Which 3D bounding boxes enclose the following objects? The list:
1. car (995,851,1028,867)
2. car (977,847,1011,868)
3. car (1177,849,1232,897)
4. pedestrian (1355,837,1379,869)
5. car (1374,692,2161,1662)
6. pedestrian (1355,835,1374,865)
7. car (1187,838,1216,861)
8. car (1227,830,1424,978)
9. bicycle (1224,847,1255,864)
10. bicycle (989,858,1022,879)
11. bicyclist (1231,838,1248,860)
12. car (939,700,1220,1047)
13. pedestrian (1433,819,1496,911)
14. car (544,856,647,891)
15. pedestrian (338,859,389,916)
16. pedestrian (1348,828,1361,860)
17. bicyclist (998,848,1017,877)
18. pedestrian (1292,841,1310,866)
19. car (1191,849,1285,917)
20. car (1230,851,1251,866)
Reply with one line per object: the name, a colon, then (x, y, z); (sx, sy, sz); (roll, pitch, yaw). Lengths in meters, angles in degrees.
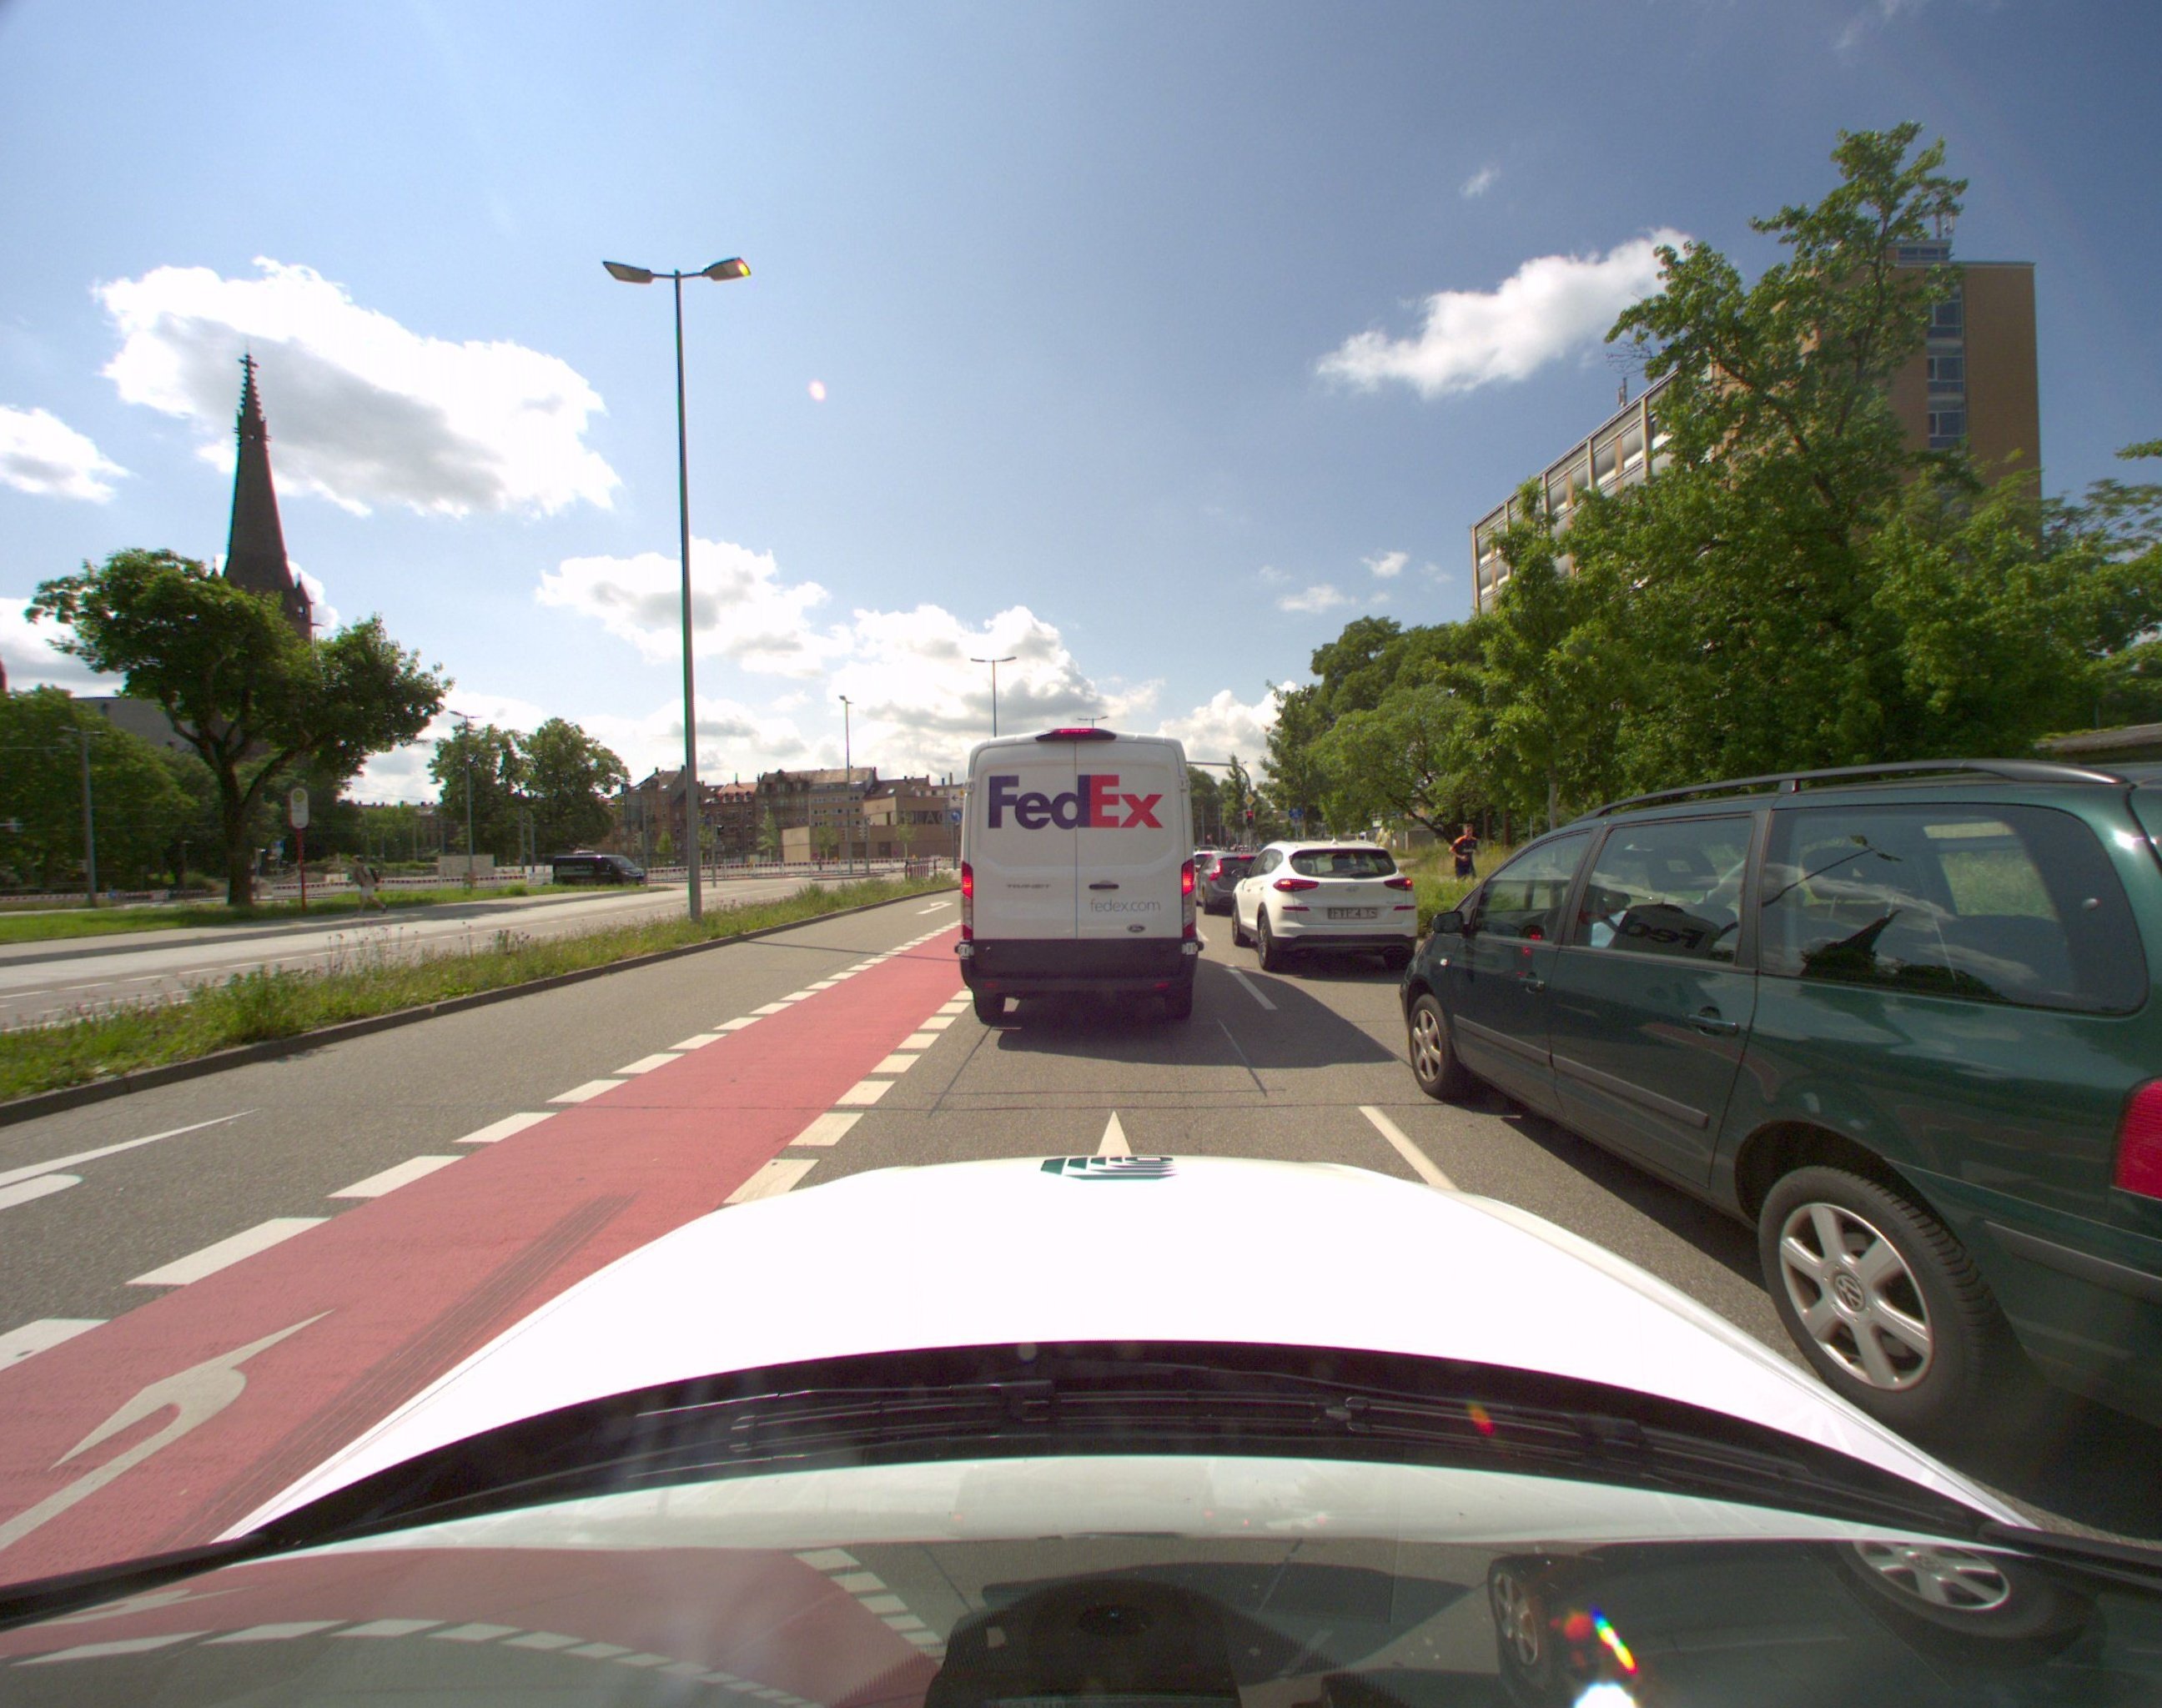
car: (-6.896, 0.479, 81.026); (1.886, 1.585, 4.017); (-2, 0, 16)
car: (-8.781, 0.349, 82.623); (1.978, 2.013, 4.017); (-2, 0, 16)
car: (4.020, 0.578, 26.943); (1.478, 1.428, 3.436); (-2, 0, 4)
pedestrian: (14.169, -0.056, 40.345); (0.842, 1.539, 0.835); (-2, 0, 1)
car: (2.890, 0.548, 3.470); (1.805, 1.734, 4.390); (-1, 0, 2)
pedestrian: (18.873, -0.261, 54.215); (0.850, 2.013, 0.733); (-2, 0, -31)
car: (11.454, -0.407, 77.010); (2.077, 2.013, 4.663); (-2, 0, 16)
car: (3.210, 0.572, 11.516); (1.790, 1.687, 4.004); (-2, 0, 4)
bicycle: (10.412, 0.078, 53.536); (1.921, 1.030, 0.546); (-2, 0, -12)
bicycle: (-4.895, 0.928, 52.645); (2.061, 1.290, 0.603); (-2, 0, -6)
bicyclist: (10.416, -0.329, 53.529); (0.969, 1.474, 0.549); (-2, 0, -13)
car: (-0.013, 0.144, 9.180); (2.134, 2.652, 5.703); (-1, 0, 0)
pedestrian: (8.169, 0.226, 17.384); (0.947, 1.892, 0.774); (-2, 0, 1)
car: (-29.434, 1.172, 49.521); (4.995, 1.879, 1.928); (-2, 1, -2)
pedestrian: (-20.236, 0.942, 22.980); (0.548, 1.560, 0.881); (-2, 0, 27)
pedestrian: (17.978, -0.637, 53.478); (0.732, 2.058, 0.852); (-2, 0, 19)
bicyclist: (-4.760, 0.563, 52.655); (1.117, 1.844, 0.592); (-2, 1, -6)
pedestrian: (12.779, -0.037, 47.303); (0.842, 1.389, 0.741); (-2, 0, 1)
car: (3.776, 0.632, 20.162); (1.790, 1.461, 3.842); (-2, 0, 4)
car: (19.801, 0.503, 101.129); (1.978, 1.794, 4.391); (-2, 0, 18)
